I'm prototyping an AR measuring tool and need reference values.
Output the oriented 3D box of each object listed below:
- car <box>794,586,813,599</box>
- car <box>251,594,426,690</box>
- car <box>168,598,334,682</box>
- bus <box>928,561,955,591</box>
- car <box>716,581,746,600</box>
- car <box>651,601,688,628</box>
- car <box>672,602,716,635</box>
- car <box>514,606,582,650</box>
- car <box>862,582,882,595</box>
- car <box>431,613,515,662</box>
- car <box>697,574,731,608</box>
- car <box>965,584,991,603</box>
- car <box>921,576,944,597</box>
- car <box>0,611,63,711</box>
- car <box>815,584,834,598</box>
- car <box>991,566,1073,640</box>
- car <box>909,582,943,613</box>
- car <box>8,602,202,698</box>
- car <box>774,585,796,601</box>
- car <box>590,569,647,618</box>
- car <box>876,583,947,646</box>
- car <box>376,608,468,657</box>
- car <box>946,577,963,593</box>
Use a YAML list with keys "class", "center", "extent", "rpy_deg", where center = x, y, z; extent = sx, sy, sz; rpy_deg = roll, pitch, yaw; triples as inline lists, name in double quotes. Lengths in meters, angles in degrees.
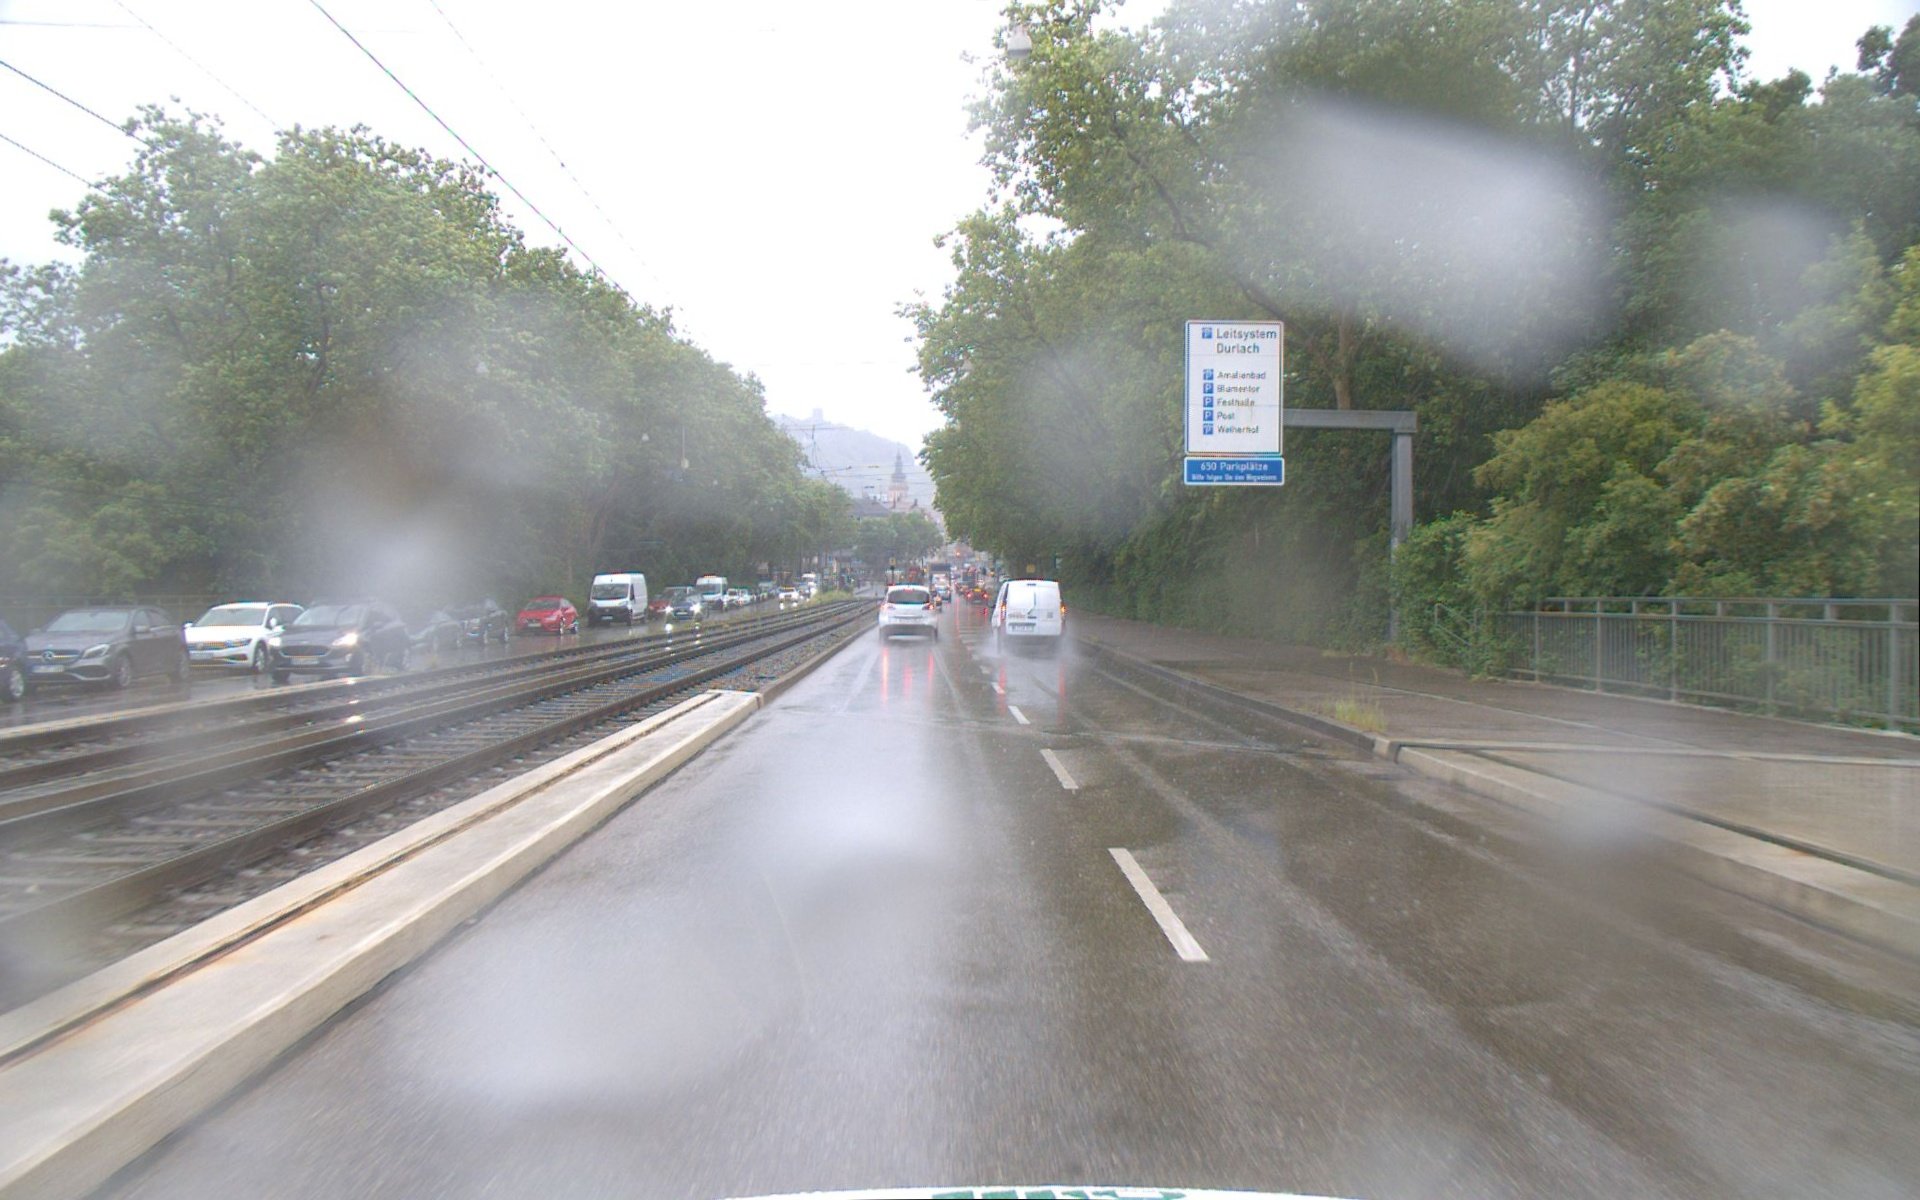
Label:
- class: "car"
  center: [-17.523, -0.861, 185.282]
  extent: [1.768, 1.373, 4.263]
  rpy_deg: [-2, 1, -1]
- class: "car"
  center: [-11.804, 0.747, 31.735]
  extent: [1.779, 1.391, 4.266]
  rpy_deg: [1, 4, -1]
- class: "car"
  center: [-15.144, 0.800, 35.613]
  extent: [1.476, 1.424, 4.892]
  rpy_deg: [-6, 2, -2]
- class: "bus"
  center: [-2.404, -3.312, 223.124]
  extent: [3.320, 3.903, 9.741]
  rpy_deg: [1, 1, 1]
- class: "car"
  center: [-18.312, -0.740, 132.390]
  extent: [1.768, 1.373, 4.263]
  rpy_deg: [-2, 1, -1]
- class: "car"
  center: [-16.807, 0.818, 95.824]
  extent: [1.475, 1.373, 4.026]
  rpy_deg: [-2, 1, -1]
- class: "car"
  center: [-13.559, 0.930, 84.370]
  extent: [1.475, 1.425, 4.707]
  rpy_deg: [-2, 1, -1]
- class: "car"
  center: [-15.998, 1.057, 64.405]
  extent: [1.577, 1.467, 4.261]
  rpy_deg: [-2, 1, -1]
- class: "car"
  center: [-10.511, -1.393, 197.403]
  extent: [1.767, 1.373, 4.267]
  rpy_deg: [-2, 1, 4]
- class: "car"
  center: [-15.709, 1.191, 53.539]
  extent: [1.475, 1.314, 4.095]
  rpy_deg: [-2, 1, -1]
- class: "car"
  center: [-17.297, -0.637, 116.523]
  extent: [1.764, 2.260, 4.277]
  rpy_deg: [-2, 1, -1]
- class: "car"
  center: [1.428, -0.512, 129.279]
  extent: [1.952, 1.344, 4.001]
  rpy_deg: [1, 1, 1]
- class: "car"
  center: [-2.541, -1.264, 152.629]
  extent: [1.952, 1.858, 4.001]
  rpy_deg: [1, 1, 1]
- class: "car"
  center: [-14.993, 0.972, 24.208]
  extent: [1.476, 1.425, 4.280]
  rpy_deg: [-2, 1, -3]
- class: "car"
  center: [-14.476, -0.942, 177.057]
  extent: [1.768, 1.373, 4.263]
  rpy_deg: [-2, 1, -2]
- class: "car"
  center: [1.795, 0.036, 42.393]
  extent: [1.952, 1.756, 4.001]
  rpy_deg: [1, 1, 1]
- class: "car"
  center: [-2.113, -0.182, 104.650]
  extent: [1.952, 1.858, 4.001]
  rpy_deg: [1, 1, 1]
- class: "car"
  center: [-15.105, 0.822, 29.475]
  extent: [1.477, 1.425, 4.403]
  rpy_deg: [-2, 1, -5]
- class: "car"
  center: [-16.785, -0.691, 158.813]
  extent: [1.768, 1.373, 4.263]
  rpy_deg: [-2, 1, -1]
- class: "car"
  center: [-16.499, -0.358, 80.164]
  extent: [1.706, 2.207, 5.812]
  rpy_deg: [-2, 1, -2]
- class: "car"
  center: [-1.437, 0.406, 50.355]
  extent: [1.952, 1.746, 4.001]
  rpy_deg: [1, 1, 1]
- class: "car"
  center: [-15.489, 0.900, 47.766]
  extent: [1.475, 1.193, 3.712]
  rpy_deg: [-2, 1, -1]
- class: "car"
  center: [-0.659, -1.784, 195.722]
  extent: [1.952, 1.858, 4.001]
  rpy_deg: [1, 1, 1]
